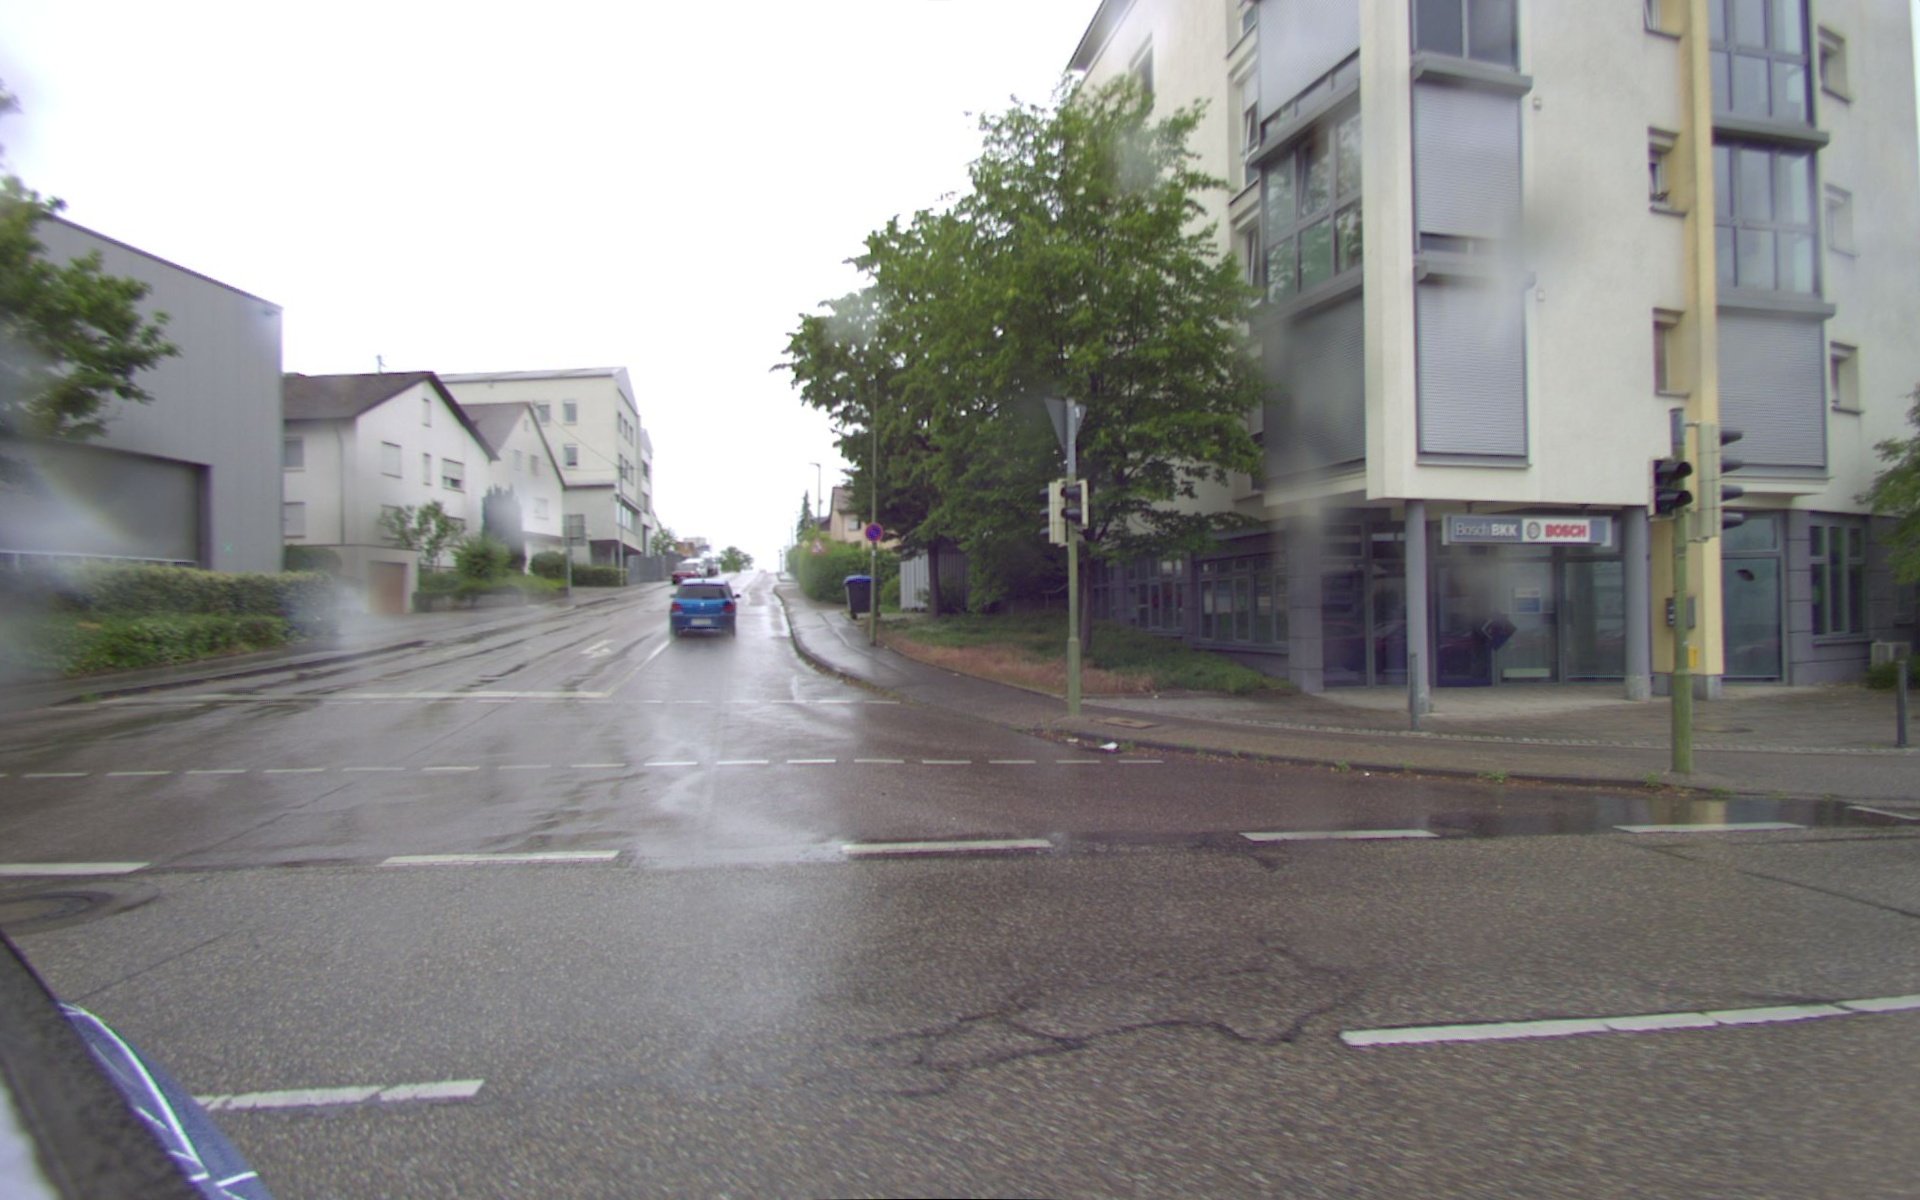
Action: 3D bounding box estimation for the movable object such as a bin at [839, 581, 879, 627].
[{"bbox_3d":[-3.167,0.119,31.645,1.040,1.306,1.204,-5,1,-10],"label":"movable object such as a bin"}]

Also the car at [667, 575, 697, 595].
[{"bbox_3d":[-21.918,-1.189,79.868,1.820,1.534,4.008,0,1,-9],"label":"car"}]

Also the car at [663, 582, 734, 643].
[{"bbox_3d":[-7.115,0.279,27.789,1.743,1.456,4.011,0,2,-13],"label":"car"}]

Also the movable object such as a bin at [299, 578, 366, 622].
[{"bbox_3d":[-23.004,-0.011,37.122,1.431,1.547,1.586,0,0,5],"label":"movable object such as a bin"}]

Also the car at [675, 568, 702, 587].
[{"bbox_3d":[-22.831,-1.897,85.136,1.820,1.534,4.008,0,1,-9],"label":"car"}]

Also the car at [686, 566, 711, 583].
[{"bbox_3d":[-23.824,-2.329,92.356,1.820,1.534,4.008,0,1,-9],"label":"car"}]

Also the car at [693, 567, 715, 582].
[{"bbox_3d":[-26.374,-2.637,104.349,1.820,1.534,4.008,0,1,-9],"label":"car"}]
